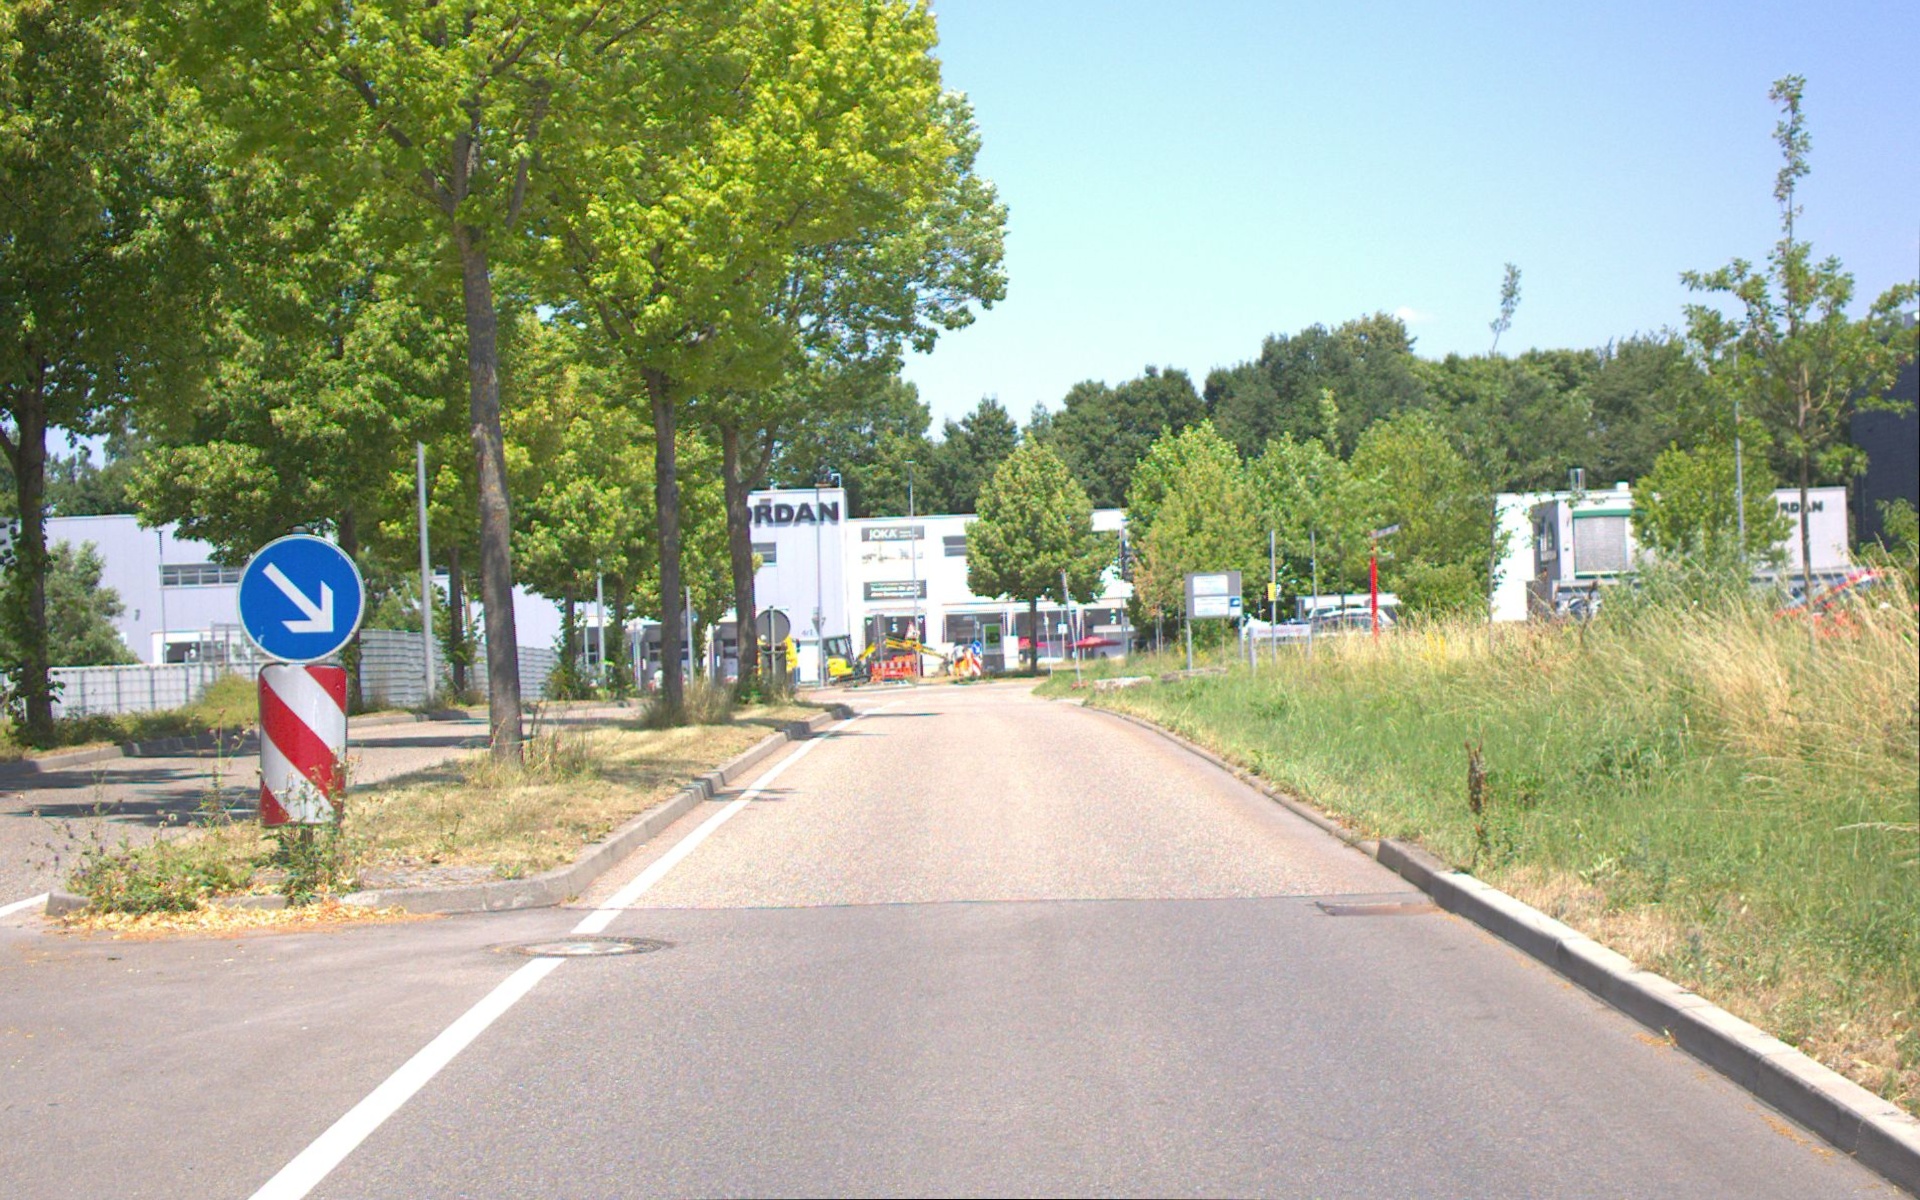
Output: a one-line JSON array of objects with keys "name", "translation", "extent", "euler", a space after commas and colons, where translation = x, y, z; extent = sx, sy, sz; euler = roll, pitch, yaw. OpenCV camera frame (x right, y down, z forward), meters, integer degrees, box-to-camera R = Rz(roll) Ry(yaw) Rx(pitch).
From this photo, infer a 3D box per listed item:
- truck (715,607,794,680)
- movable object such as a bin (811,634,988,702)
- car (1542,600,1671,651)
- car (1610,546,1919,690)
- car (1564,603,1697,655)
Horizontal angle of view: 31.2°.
[{"name": "truck", "translation": [-9.452, 1.979, 157.734], "extent": [2.938, 2.876, 5.811], "euler": [-4, 2, -9]}, {"name": "movable object such as a bin", "translation": [-2.756, 3.136, 158.607], "extent": [7.528, 2.491, 3.665], "euler": [-3, 2, 8]}, {"name": "car", "translation": [22.129, 0.858, 117.750], "extent": [3.986, 1.395, 1.769], "euler": [-4, 2, -3]}, {"name": "car", "translation": [11.017, 0.244, 46.521], "extent": [3.987, 1.718, 1.927], "euler": [-3, -1, 0]}, {"name": "car", "translation": [22.396, 0.962, 114.866], "extent": [3.986, 1.395, 1.769], "euler": [-4, 2, -3]}]
